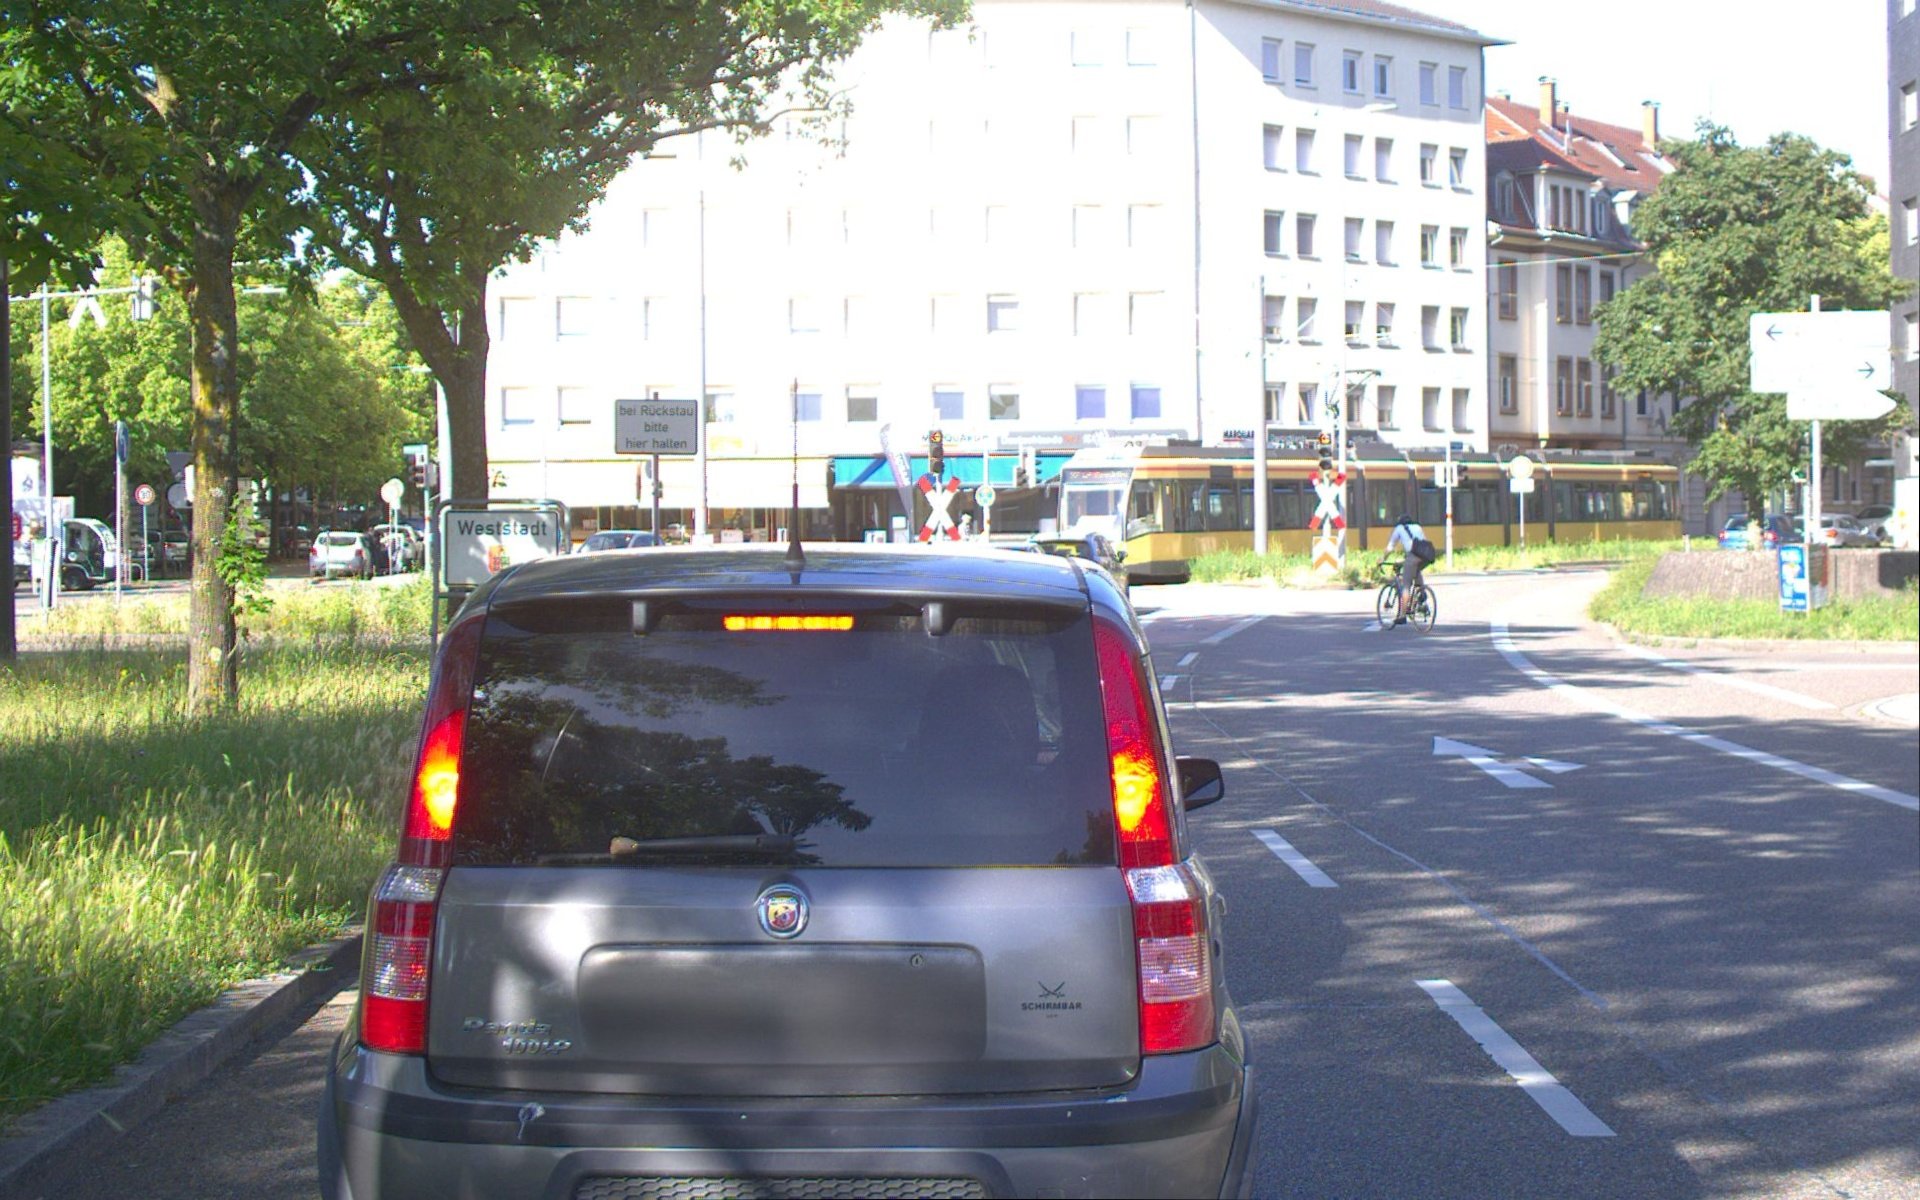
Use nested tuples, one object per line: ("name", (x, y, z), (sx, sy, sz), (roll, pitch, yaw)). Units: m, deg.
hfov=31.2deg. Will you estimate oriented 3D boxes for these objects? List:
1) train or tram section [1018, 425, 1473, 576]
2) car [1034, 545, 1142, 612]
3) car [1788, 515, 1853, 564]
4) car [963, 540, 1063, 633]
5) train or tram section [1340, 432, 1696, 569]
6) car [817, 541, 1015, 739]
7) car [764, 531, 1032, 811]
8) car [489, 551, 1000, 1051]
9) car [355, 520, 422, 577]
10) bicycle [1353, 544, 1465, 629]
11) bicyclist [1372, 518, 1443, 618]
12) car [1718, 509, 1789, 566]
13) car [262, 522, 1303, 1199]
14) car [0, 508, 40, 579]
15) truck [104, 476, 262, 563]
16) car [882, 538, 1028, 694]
("train or tram section", (7.830, -2.556, 88.503), (3.301, 3.501, 19.351), (0, 2, 32))
("car", (2.169, -0.371, 57.674), (1.143, 1.060, 2.719), (0, 1, 17))
("car", (23.553, -1.664, 94.023), (1.528, 1.310, 3.285), (0, 1, 18))
("car", (0.747, -0.213, 49.599), (1.356, 1.277, 2.876), (0, 1, -1))
("train or tram section", (17.352, -3.019, 104.364), (3.301, 3.757, 20.774), (0, 2, 31))
("car", (-0.346, 0.267, 27.247), (1.463, 1.420, 3.381), (0, 2, -1))
("car", (-0.360, 0.354, 20.683), (1.463, 1.503, 3.505), (0, 2, -1))
("car", (-0.641, 0.558, 11.644), (1.463, 1.396, 3.393), (0, 1, -1))
("car", (-20.521, -1.867, 123.586), (1.993, 2.007, 4.001), (-1, 1, -4))
("bicycle", (6.499, -0.205, 49.897), (0.708, 1.194, 2.521), (1, 1, -15))
("bicyclist", (6.481, -0.464, 49.832), (0.741, 1.433, 0.845), (1, 0, -14))
("car", (20.877, -1.660, 90.395), (1.683, 1.444, 3.569), (0, 1, 15))
("car", (-0.298, 0.595, 7.422), (1.628, 1.503, 4.000), (-1, 1, -1))
("car", (-28.591, -1.601, 98.114), (4.176, 2.007, 1.932), (-1, 1, -2))
("truck", (-28.886, -2.991, 127.776), (5.485, 3.158, 2.340), (0, 1, 28))
("car", (-0.061, 0.121, 33.867), (1.356, 1.444, 3.266), (-1, 1, -1))
